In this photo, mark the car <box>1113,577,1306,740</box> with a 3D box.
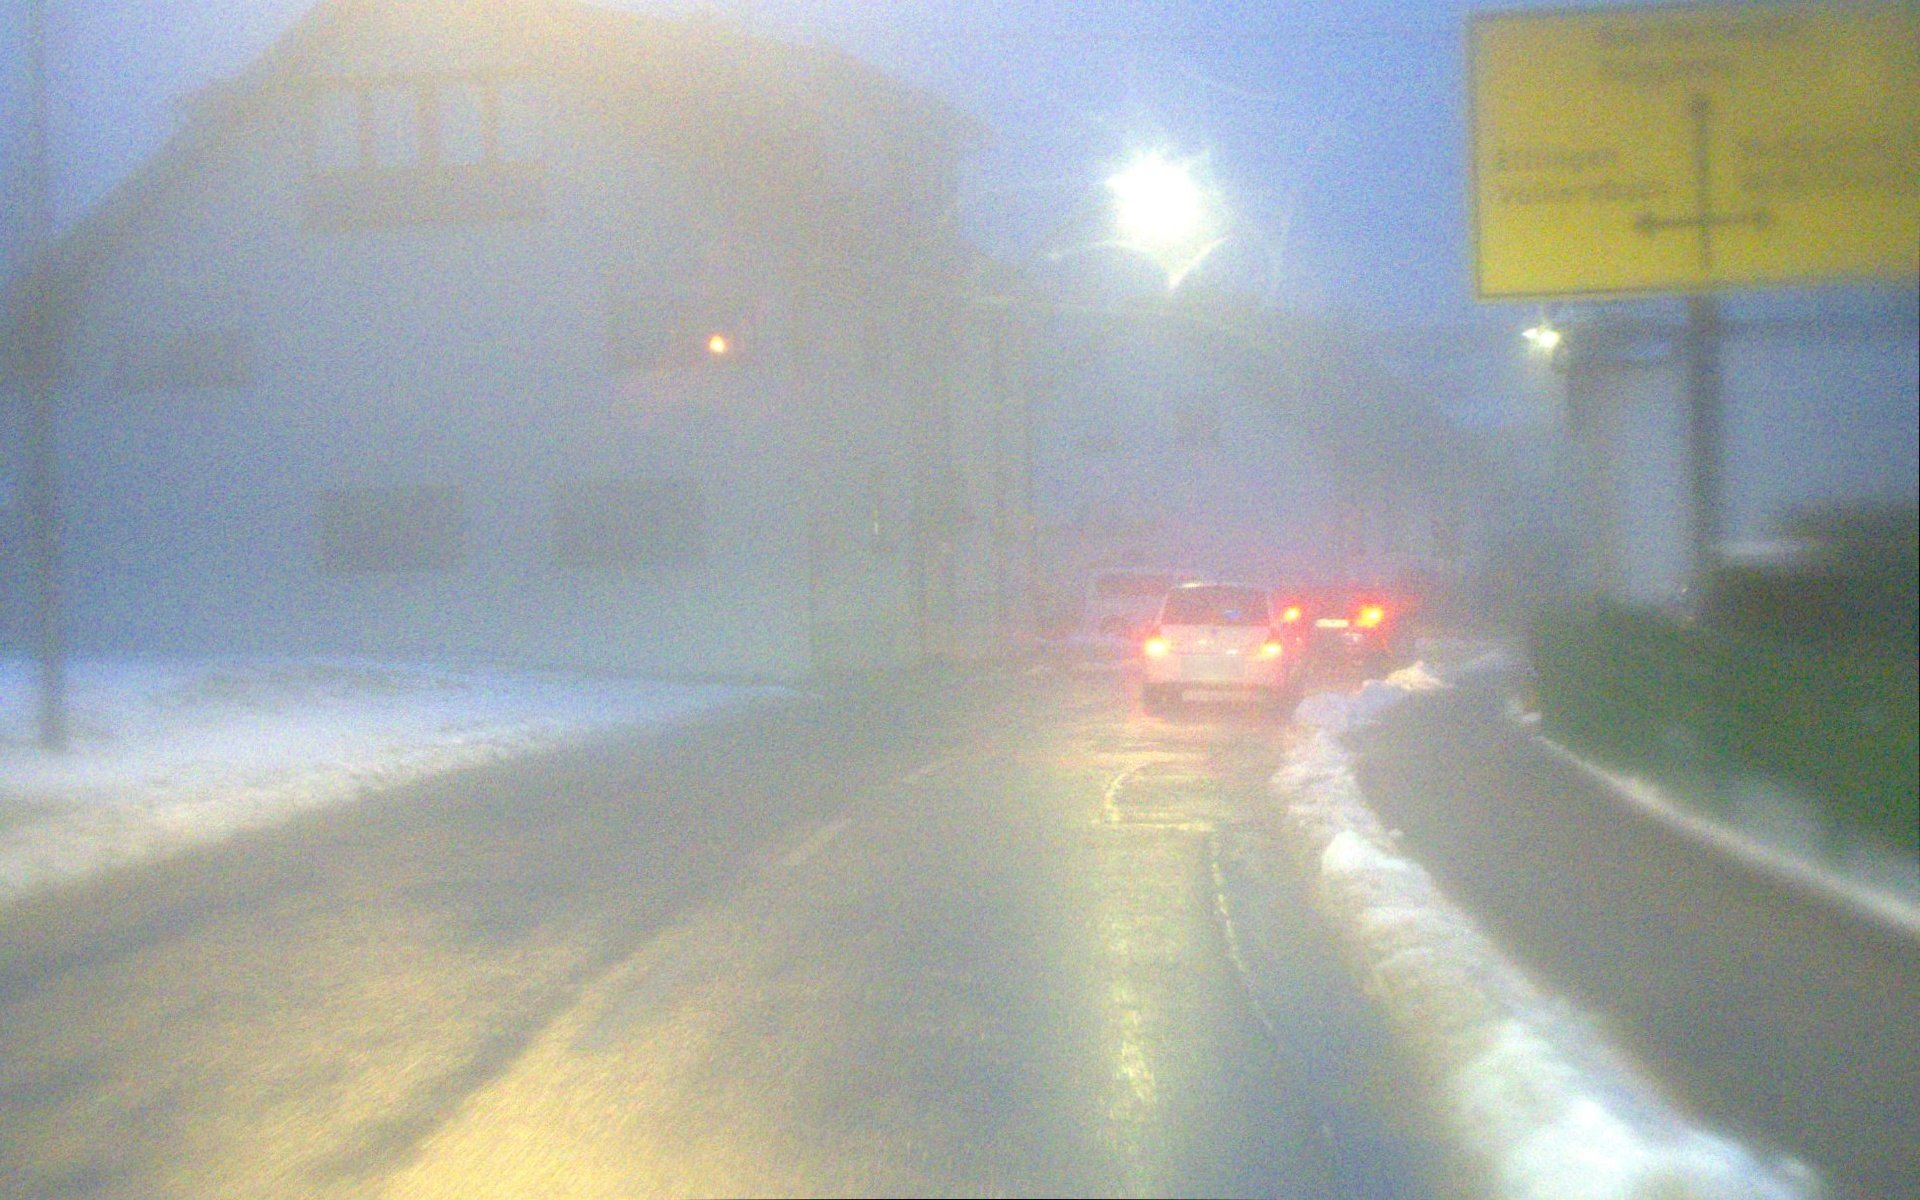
[{"bbox_3d":[2.794,0.616,39.011,1.994,1.502,4.000,-3,2,3],"label":"car"}]

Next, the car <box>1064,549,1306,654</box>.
[{"bbox_3d":[4.856,0.032,74.320,4.739,2.006,1.998,-2,3,26],"label":"car"}]

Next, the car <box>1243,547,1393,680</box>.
[{"bbox_3d":[5.791,0.178,55.243,1.994,1.831,3.999,-3,2,11],"label":"car"}]
